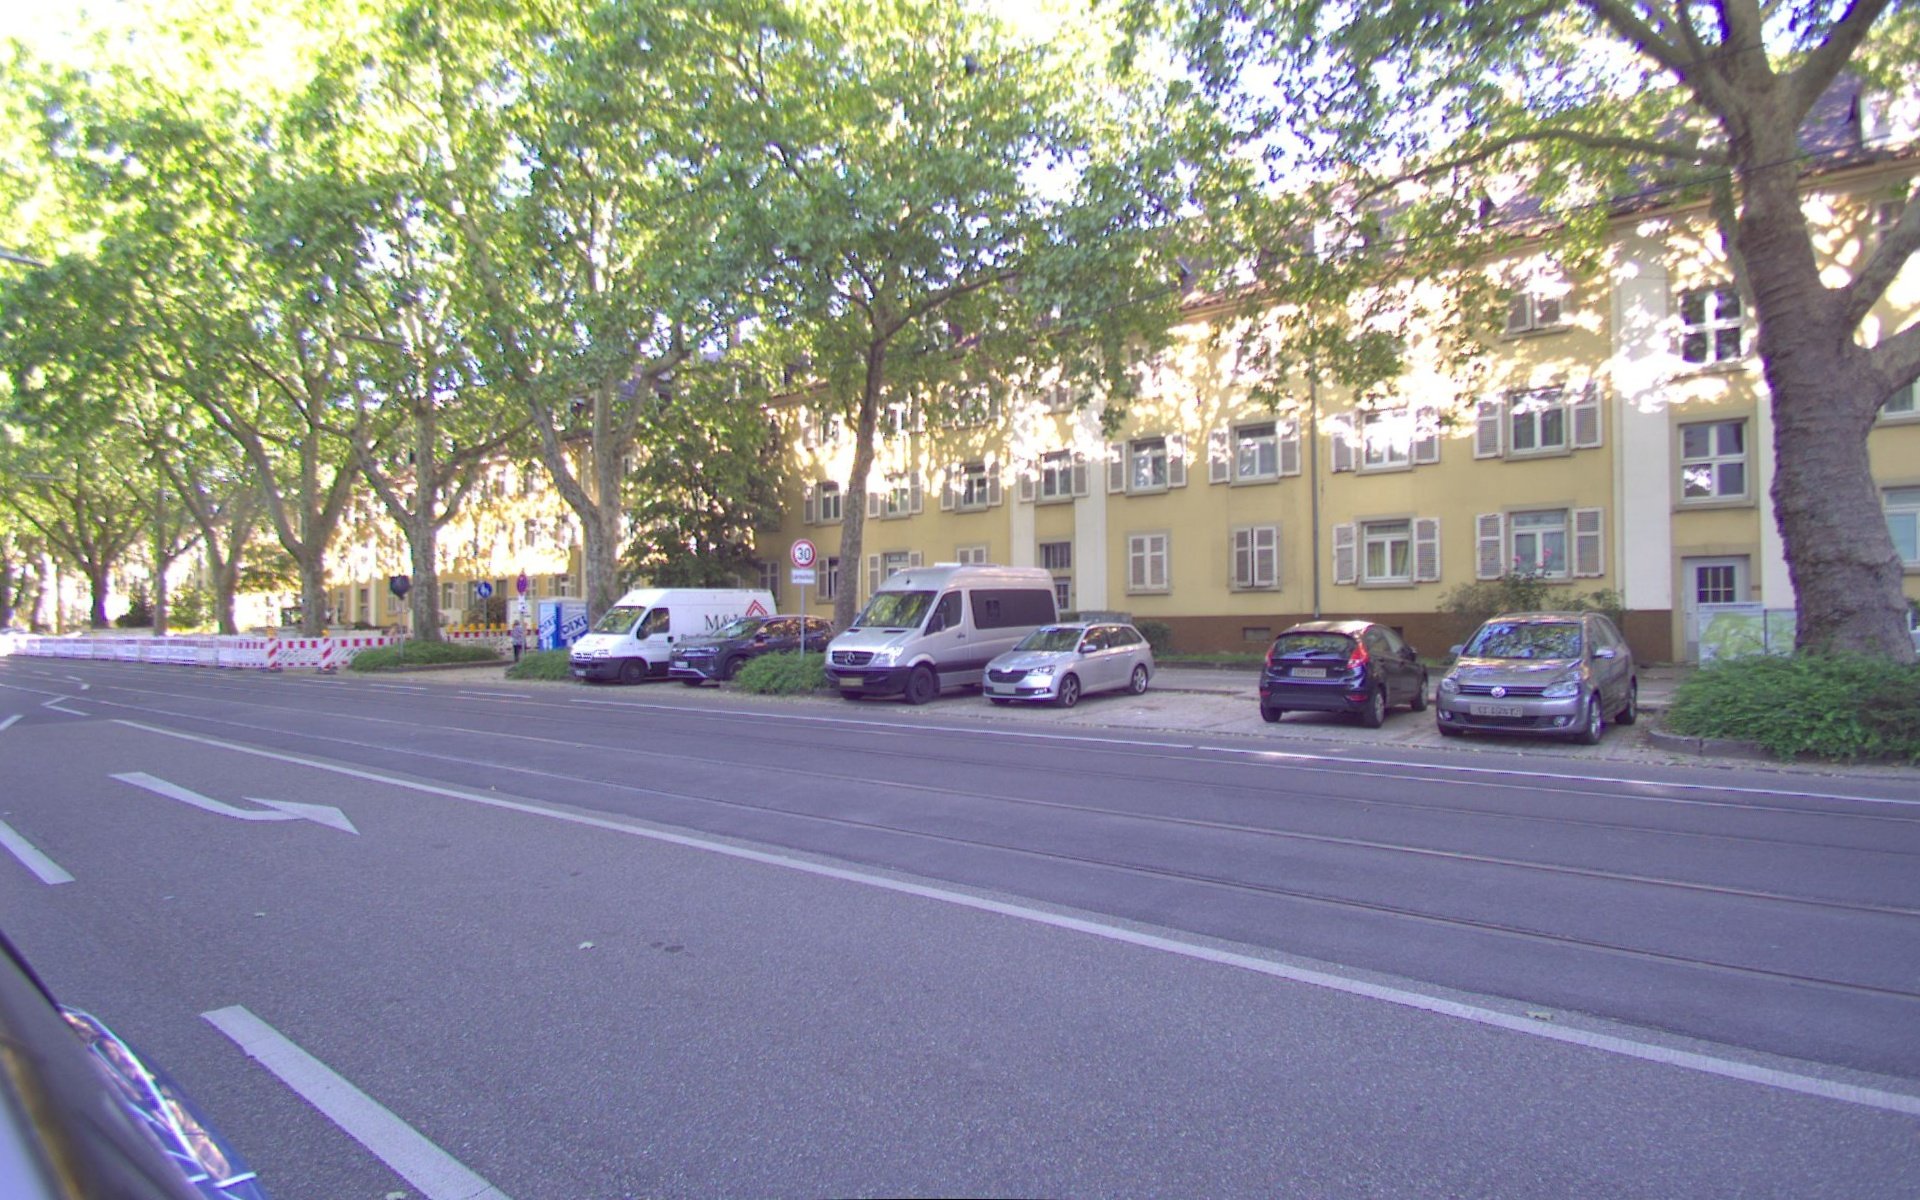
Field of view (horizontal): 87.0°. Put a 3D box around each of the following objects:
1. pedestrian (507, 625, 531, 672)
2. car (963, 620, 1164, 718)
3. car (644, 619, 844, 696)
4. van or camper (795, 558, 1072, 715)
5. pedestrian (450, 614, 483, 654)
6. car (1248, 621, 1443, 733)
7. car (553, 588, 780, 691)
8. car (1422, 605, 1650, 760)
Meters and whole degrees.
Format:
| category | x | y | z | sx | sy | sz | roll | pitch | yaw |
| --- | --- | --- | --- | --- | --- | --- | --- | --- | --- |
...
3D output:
| category | x | y | z | sx | sy | sz | roll | pitch | yaw |
| --- | --- | --- | --- | --- | --- | --- | --- | --- | --- |
| pedestrian | -14.929 | 1.637 | 34.277 | 0.587 | 1.585 | 0.719 | 0 | -2 | -11 |
| car | 2.038 | 1.185 | 18.897 | 1.729 | 1.481 | 4.102 | 0 | 0 | 40 |
| car | -5.089 | 1.310 | 24.359 | 1.967 | 1.643 | 4.520 | -2 | -2 | 38 |
| van or camper | -0.315 | 0.642 | 20.482 | 2.227 | 2.697 | 6.052 | -2 | -1 | 38 |
| pedestrian | -25.579 | 1.744 | 52.455 | 1.233 | 2.029 | 1.085 | -2 | -2 | 36 |
| car | 5.907 | 1.070 | 15.319 | 1.740 | 1.440 | 3.528 | -2 | -1 | 39 |
| car | -7.443 | 0.986 | 26.278 | 2.023 | 2.394 | 5.543 | -2 | -2 | 38 |
| car | 7.738 | 0.946 | 13.406 | 1.814 | 1.617 | 4.145 | -2 | 0 | 41 |
